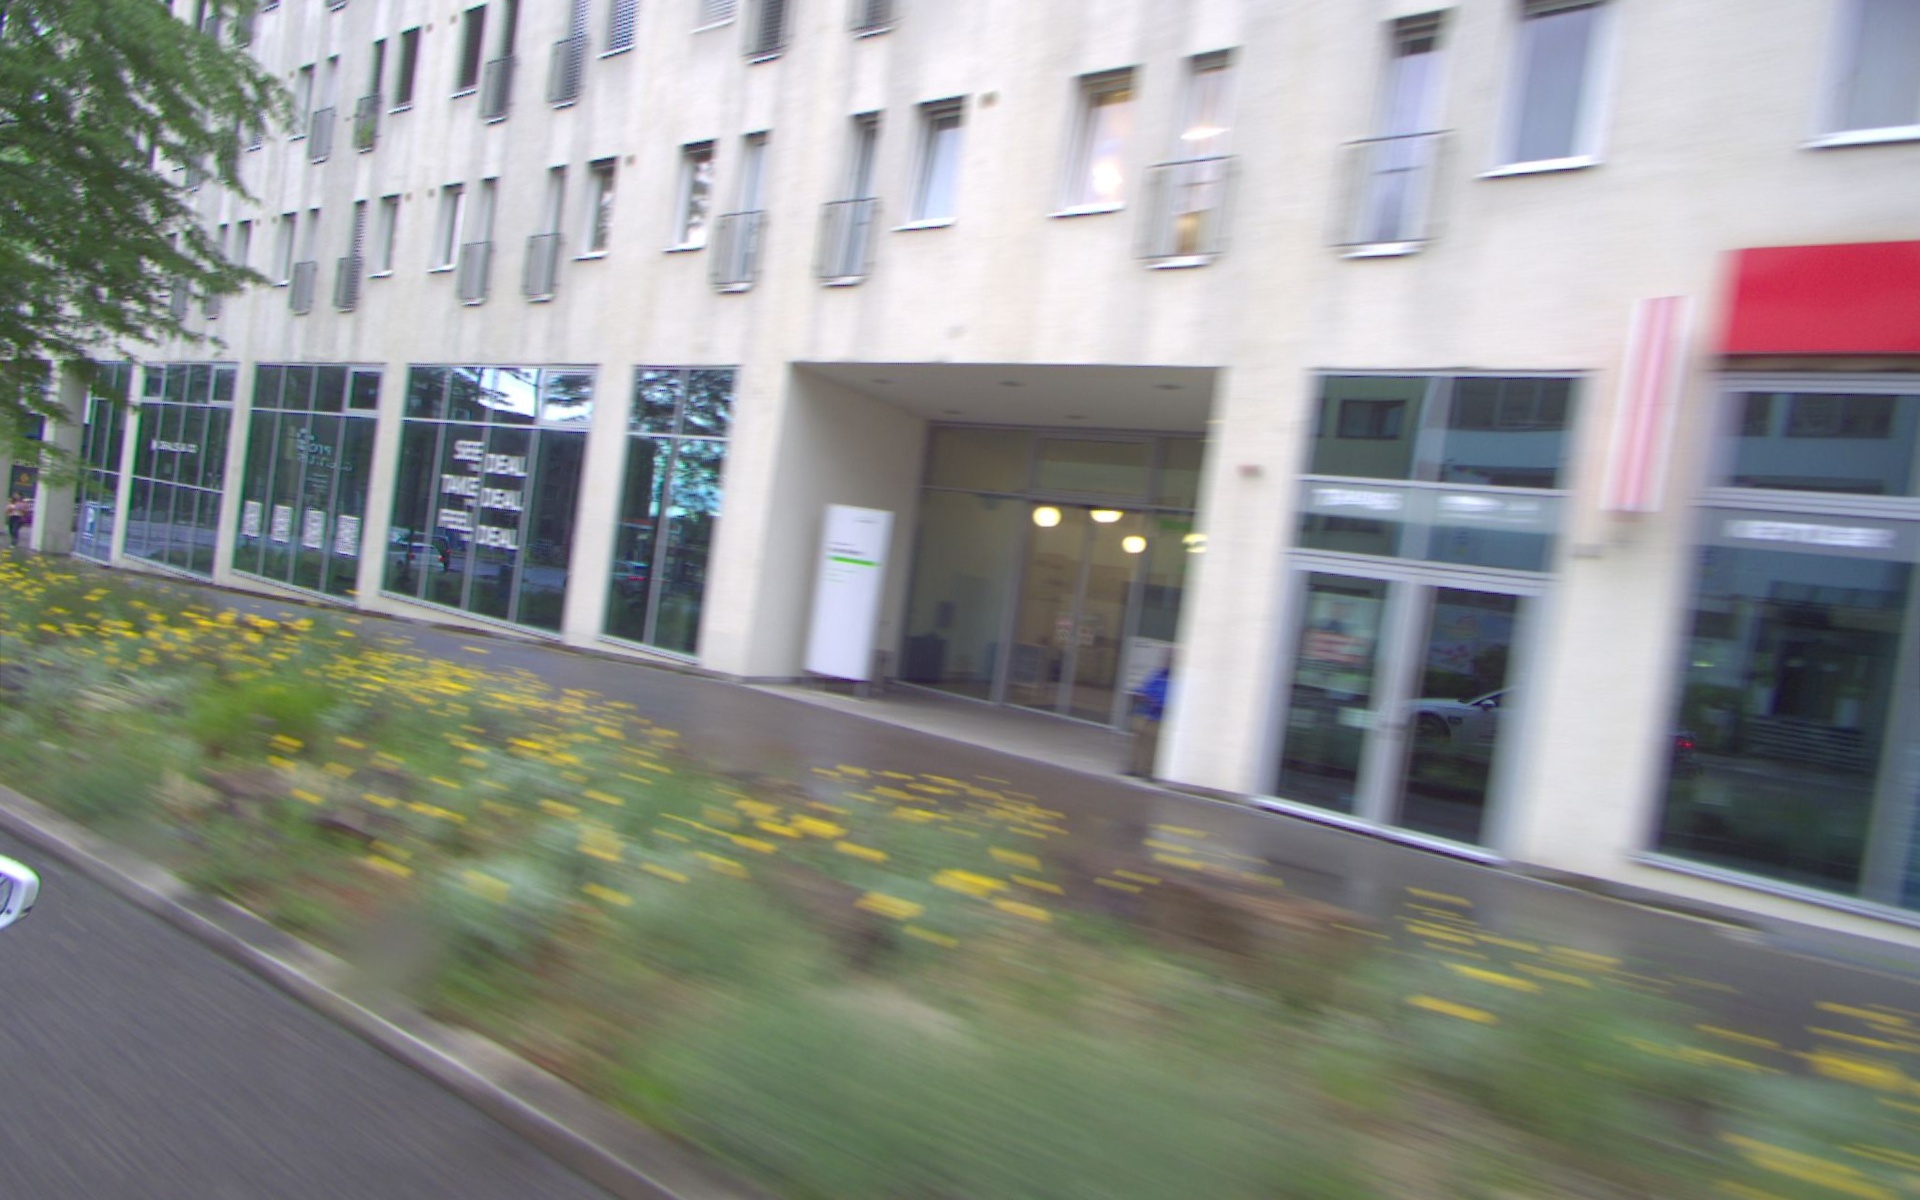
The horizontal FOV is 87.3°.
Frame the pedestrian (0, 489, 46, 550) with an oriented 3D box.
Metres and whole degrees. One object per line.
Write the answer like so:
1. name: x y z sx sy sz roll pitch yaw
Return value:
1. pedestrian: -29.381 -2.504 31.242 0.861 1.732 1.085 9 0 -12
